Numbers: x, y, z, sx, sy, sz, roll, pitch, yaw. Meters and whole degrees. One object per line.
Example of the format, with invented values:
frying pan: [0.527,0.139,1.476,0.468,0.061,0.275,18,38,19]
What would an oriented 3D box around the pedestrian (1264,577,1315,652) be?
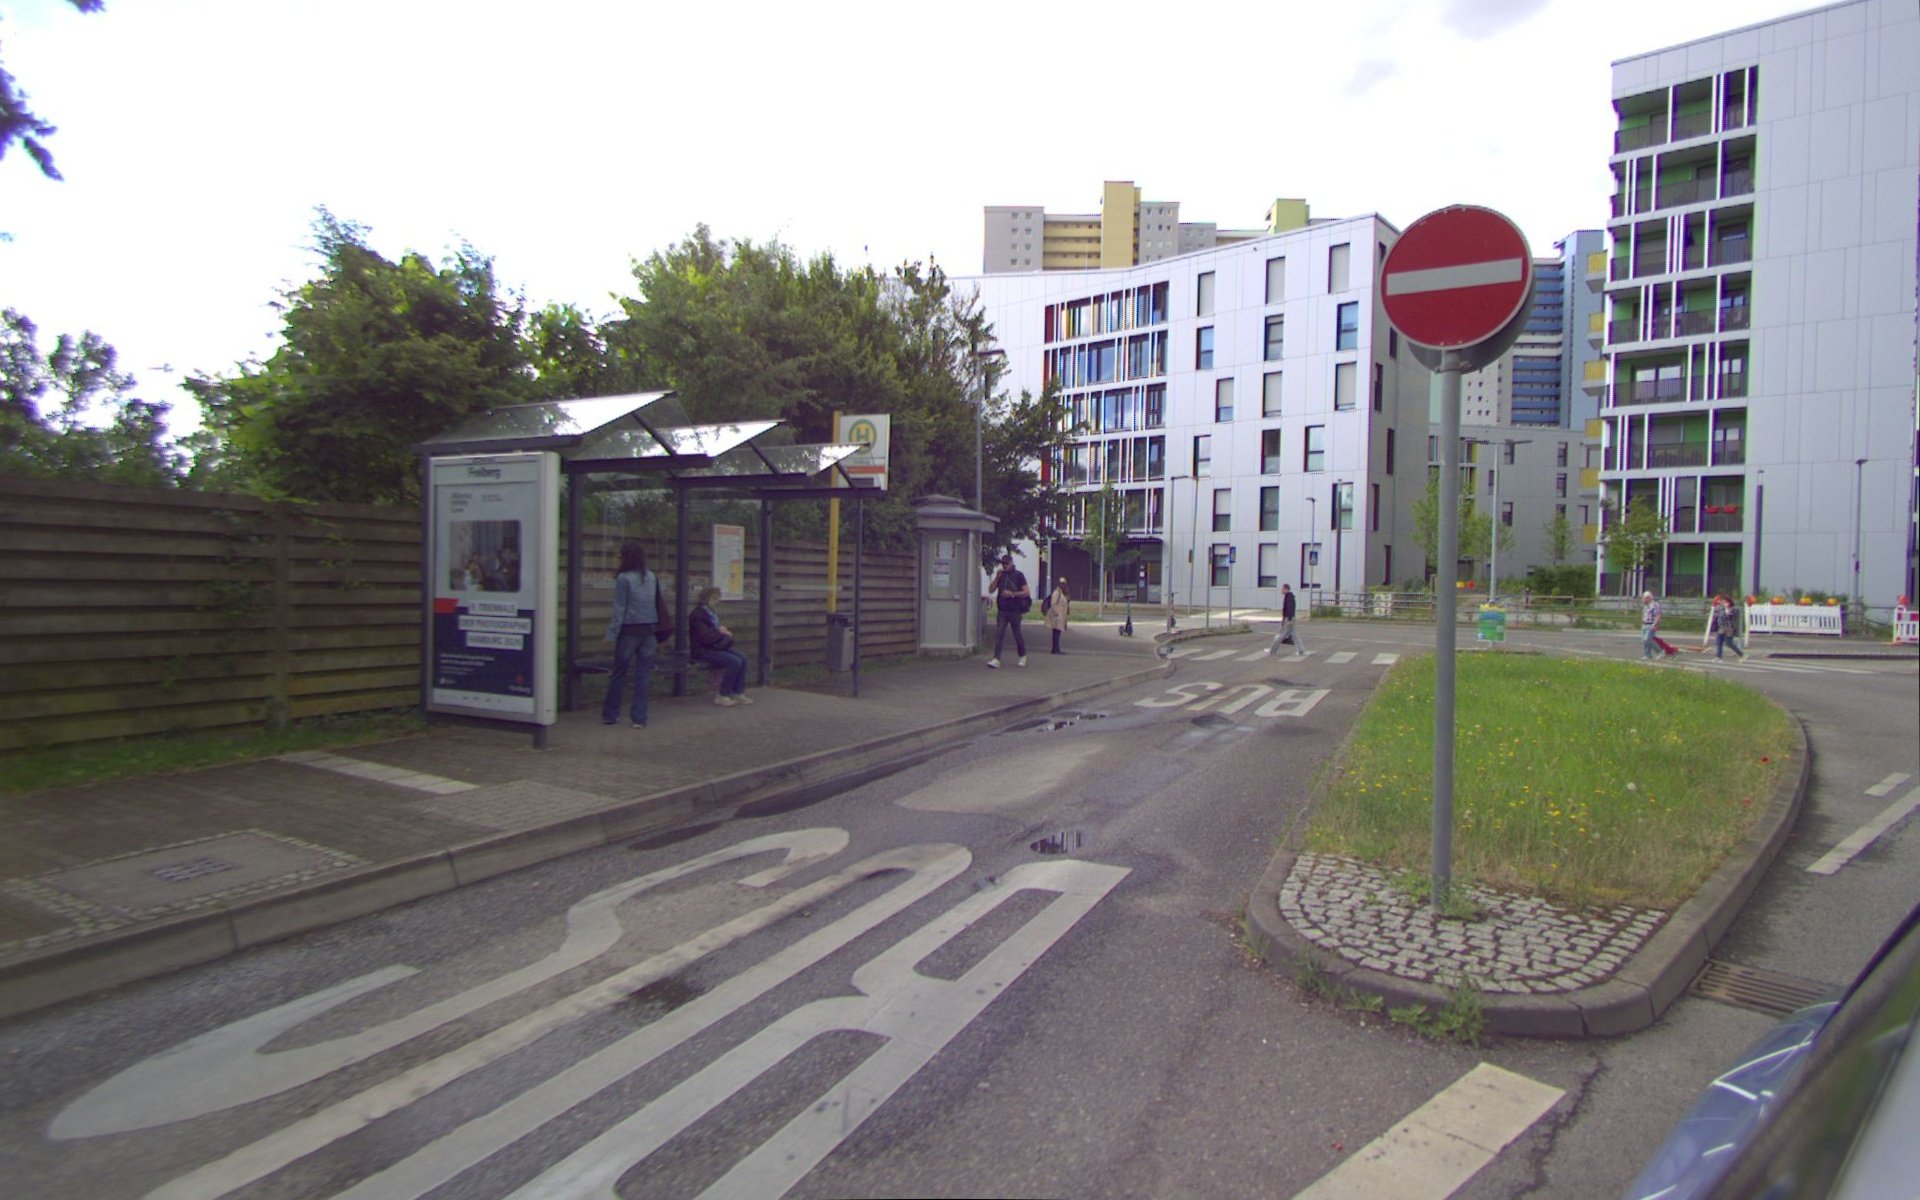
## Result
pedestrian: [8.064,0.334,24.751,1.051,1.768,0.949,1,1,25]

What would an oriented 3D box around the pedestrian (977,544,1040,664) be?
pedestrian: [0.793,0.075,16.155,0.844,1.846,0.981,1,-2,11]

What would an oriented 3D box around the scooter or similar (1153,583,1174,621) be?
scooter or similar: [7.311,0.065,36.395,0.562,1.329,1.523,1,1,6]

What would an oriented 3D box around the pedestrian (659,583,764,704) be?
pedestrian: [-2.564,0.419,10.478,0.741,1.184,0.766,1,1,22]

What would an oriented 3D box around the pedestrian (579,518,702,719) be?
pedestrian: [-2.801,0.138,8.901,0.680,1.670,0.764,1,1,28]

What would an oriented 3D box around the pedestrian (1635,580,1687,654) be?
pedestrian: [16.349,0.383,23.613,0.685,1.653,0.724,-2,4,-27]

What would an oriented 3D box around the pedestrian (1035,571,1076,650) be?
pedestrian: [2.012,0.209,21.343,0.678,1.614,0.767,1,1,18]

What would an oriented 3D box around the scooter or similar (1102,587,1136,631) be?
scooter or similar: [4.977,0.256,31.686,0.609,1.290,1.498,1,2,-8]

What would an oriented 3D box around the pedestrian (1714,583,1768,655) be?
pedestrian: [17.731,0.421,22.983,0.678,1.586,0.734,0,1,-28]
